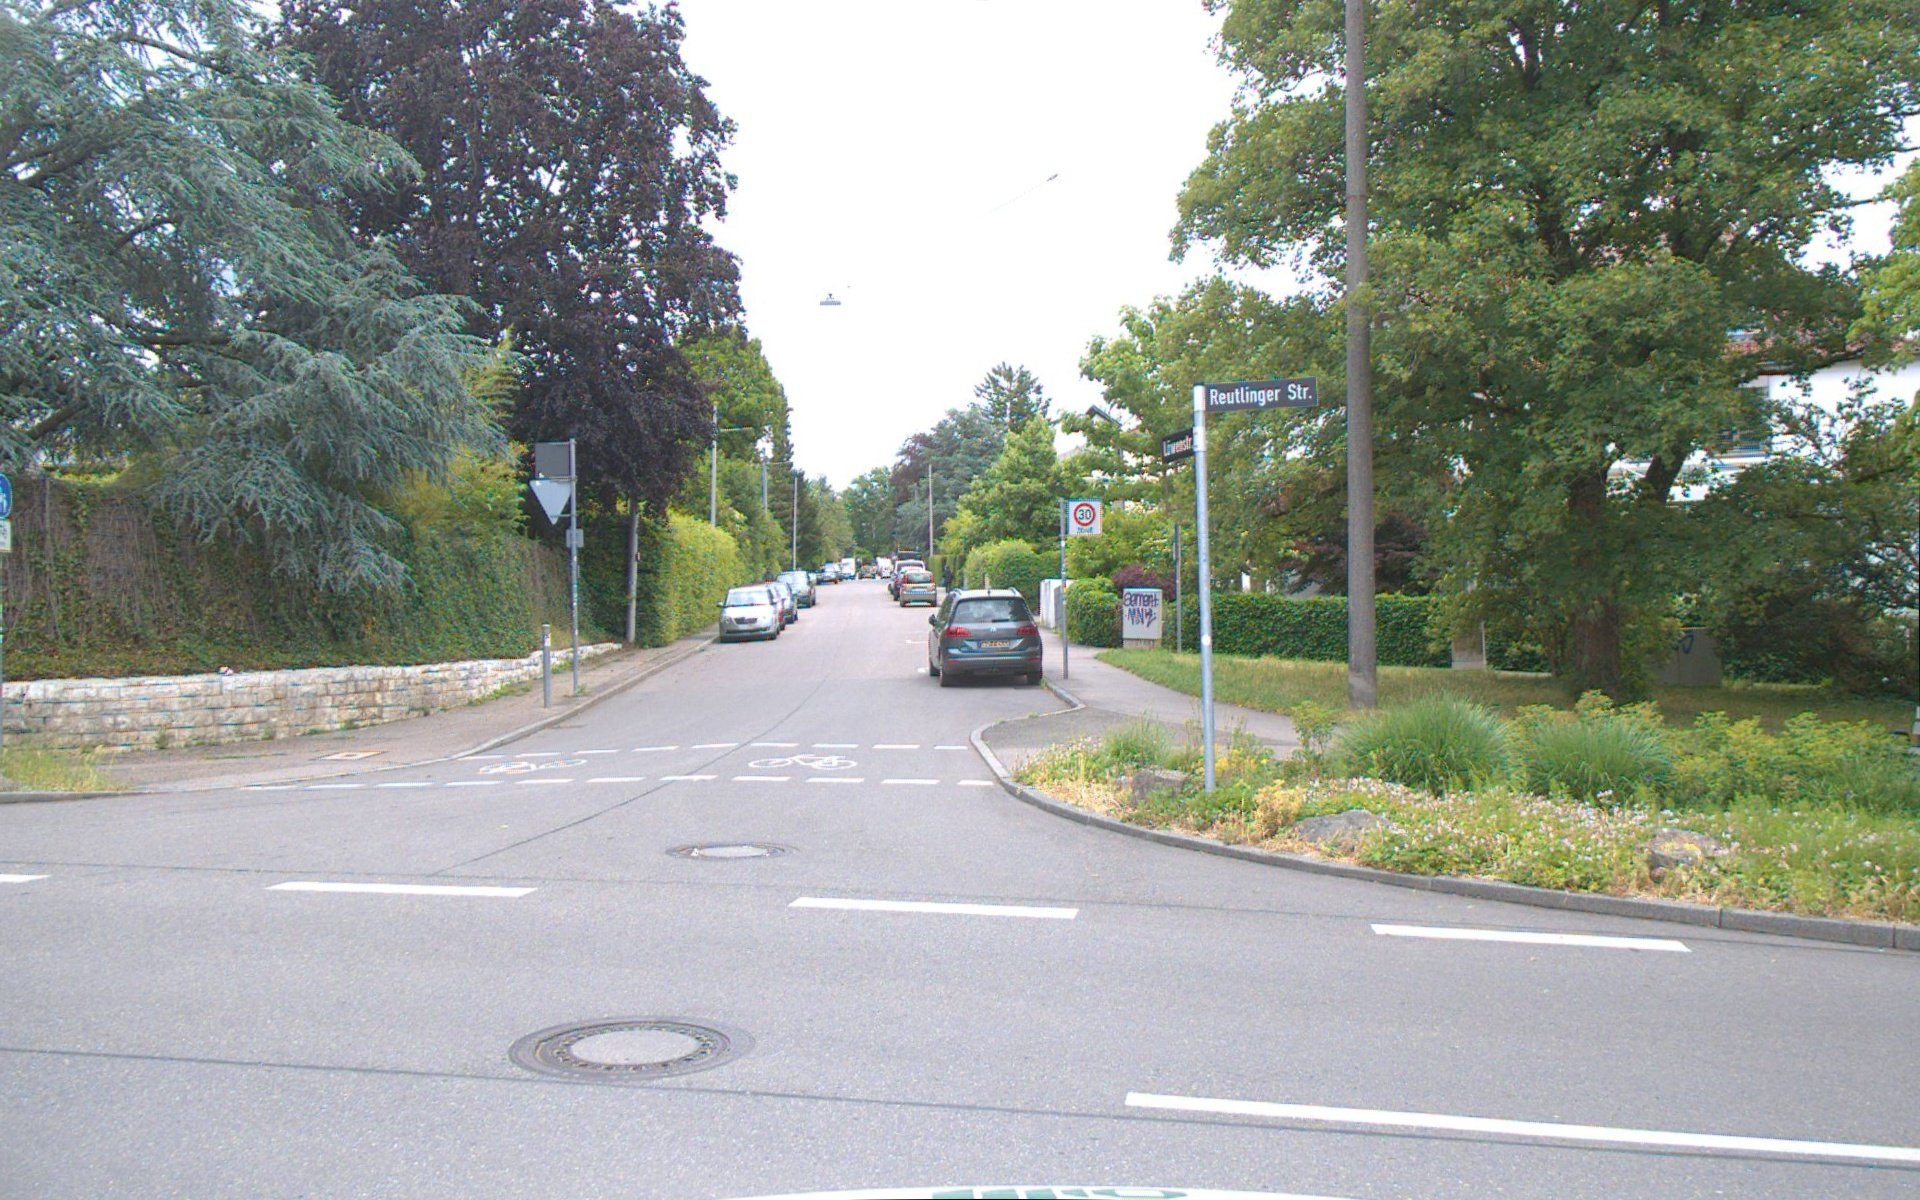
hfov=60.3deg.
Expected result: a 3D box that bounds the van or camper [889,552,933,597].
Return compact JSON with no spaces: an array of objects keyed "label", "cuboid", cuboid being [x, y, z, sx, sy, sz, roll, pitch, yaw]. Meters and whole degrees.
[{"label":"van or camper","cuboid":[-2.826,-1.421,93.810,2.072,2.447,5.239,-1,0,-6]}]

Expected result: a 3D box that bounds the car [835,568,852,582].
[{"label":"car","cuboid":[-11.502,-2.483,163.818,1.623,1.358,3.778,1,0,-4]}]

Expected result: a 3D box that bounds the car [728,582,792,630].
[{"label":"car","cuboid":[-6.426,0.184,53.381,1.909,1.467,3.996,-1,0,-5]}]

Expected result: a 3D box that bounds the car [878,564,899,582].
[{"label":"car","cuboid":[-7.779,-2.950,180.042,1.903,1.827,4.188,1,0,-7]}]

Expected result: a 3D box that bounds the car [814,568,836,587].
[{"label":"car","cuboid":[-11.175,-1.865,136.656,1.681,1.488,3.654,1,0,-3]}]

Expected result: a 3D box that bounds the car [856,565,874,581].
[{"label":"car","cuboid":[-10.380,-2.925,180.749,1.781,1.601,3.994,-1,0,-7]}]

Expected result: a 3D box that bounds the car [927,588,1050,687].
[{"label":"car","cuboid":[0.421,0.597,28.846,1.781,1.563,3.997,-1,0,-4]}]

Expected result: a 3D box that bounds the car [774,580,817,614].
[{"label":"car","cuboid":[-7.580,-0.154,76.405,1.909,1.467,3.996,-1,0,-5]}]

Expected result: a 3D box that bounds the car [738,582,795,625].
[{"label":"car","cuboid":[-6.856,0.107,58.871,1.909,1.467,3.996,-1,0,-5]}]

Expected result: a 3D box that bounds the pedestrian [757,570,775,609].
[{"label":"pedestrian","cuboid":[-10.138,-0.543,86.333,0.837,2.049,0.871,1,0,-9]}]

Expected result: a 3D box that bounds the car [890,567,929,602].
[{"label":"car","cuboid":[-2.532,-0.757,81.814,1.713,1.668,3.724,-1,0,-5]}]

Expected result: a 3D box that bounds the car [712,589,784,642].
[{"label":"car","cuboid":[-6.136,0.416,48.242,1.909,1.467,3.996,-1,0,-5]}]

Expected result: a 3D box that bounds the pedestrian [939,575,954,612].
[{"label":"pedestrian","cuboid":[-0.704,-0.351,87.503,0.742,1.904,0.619,1,0,-4]}]

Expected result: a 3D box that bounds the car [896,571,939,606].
[{"label":"car","cuboid":[-1.859,-0.499,72.104,1.578,1.438,3.469,1,0,-6]}]
